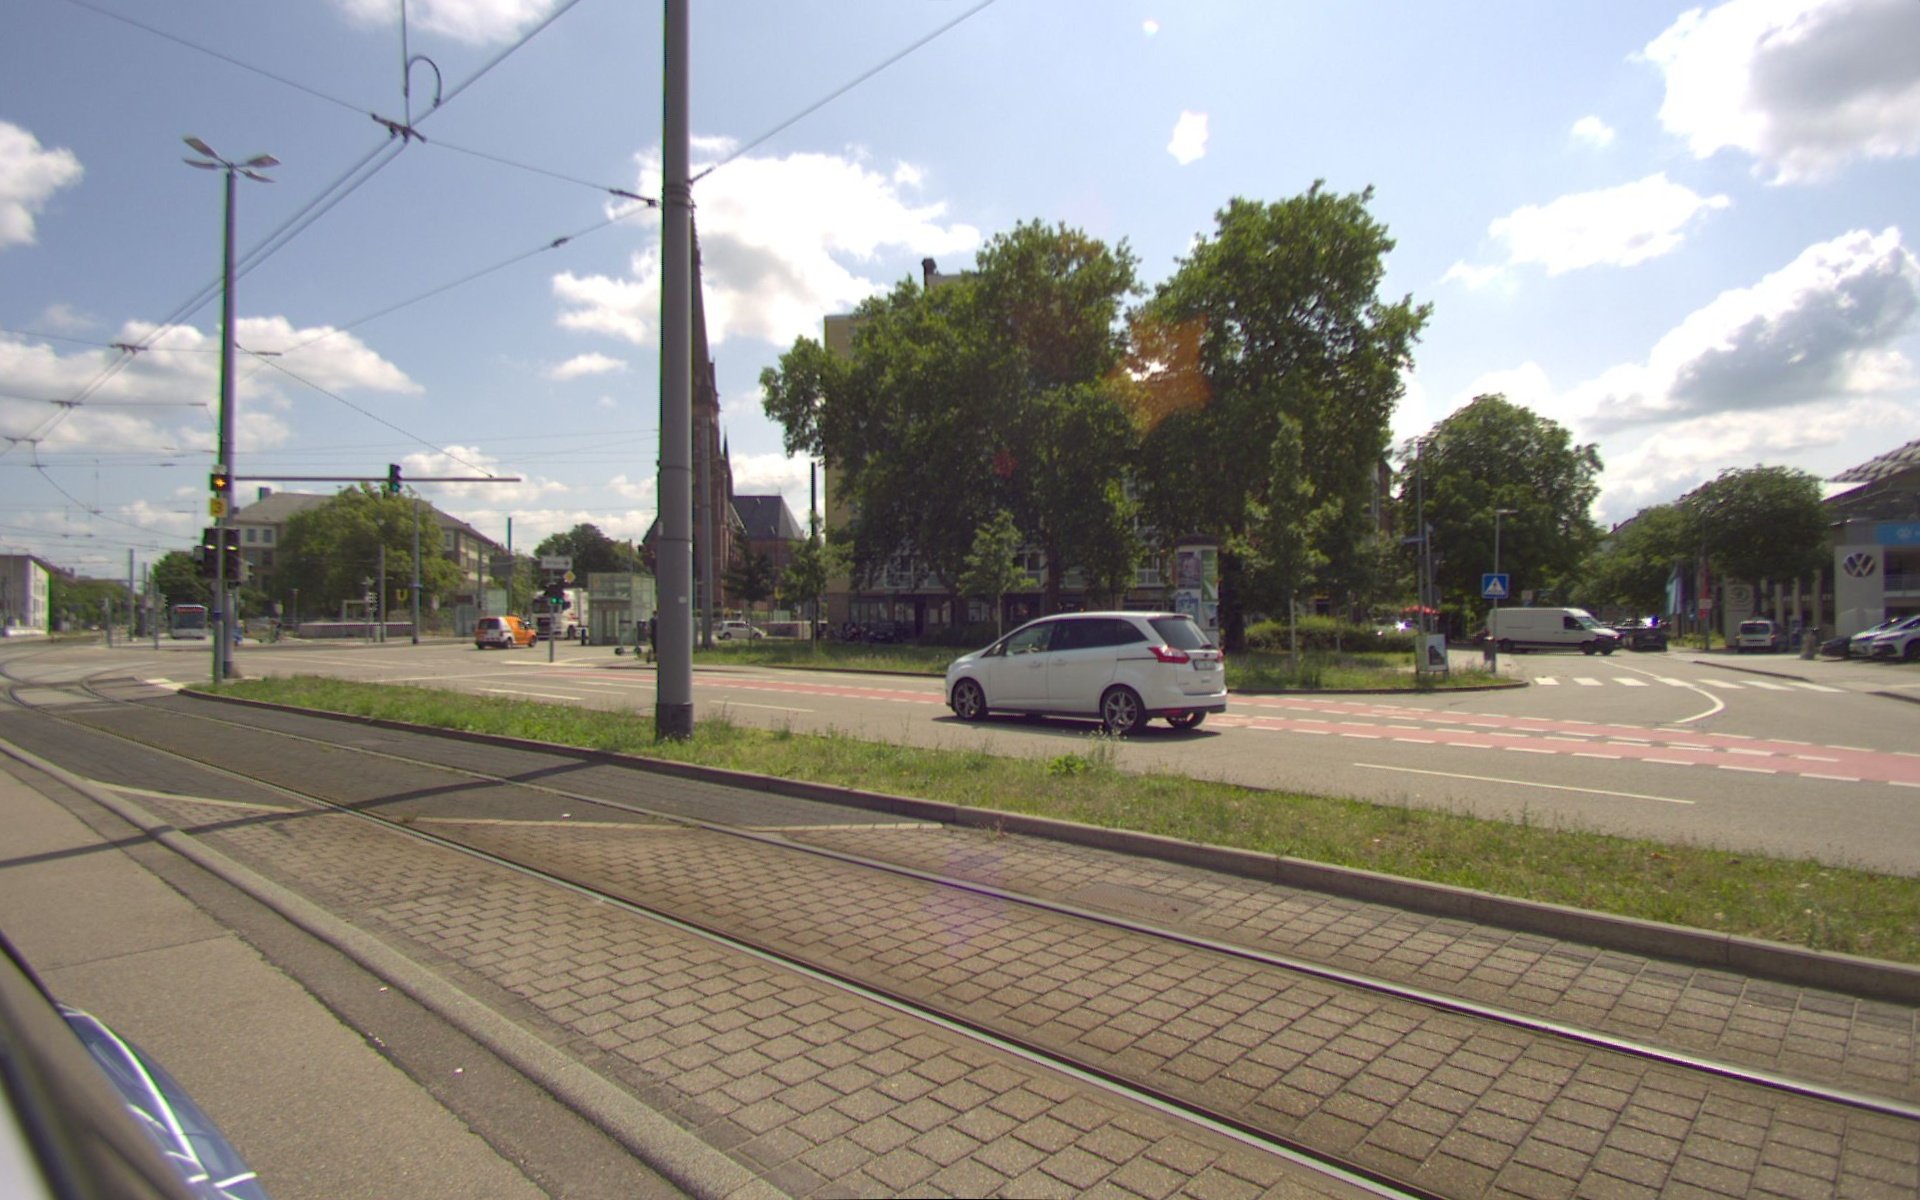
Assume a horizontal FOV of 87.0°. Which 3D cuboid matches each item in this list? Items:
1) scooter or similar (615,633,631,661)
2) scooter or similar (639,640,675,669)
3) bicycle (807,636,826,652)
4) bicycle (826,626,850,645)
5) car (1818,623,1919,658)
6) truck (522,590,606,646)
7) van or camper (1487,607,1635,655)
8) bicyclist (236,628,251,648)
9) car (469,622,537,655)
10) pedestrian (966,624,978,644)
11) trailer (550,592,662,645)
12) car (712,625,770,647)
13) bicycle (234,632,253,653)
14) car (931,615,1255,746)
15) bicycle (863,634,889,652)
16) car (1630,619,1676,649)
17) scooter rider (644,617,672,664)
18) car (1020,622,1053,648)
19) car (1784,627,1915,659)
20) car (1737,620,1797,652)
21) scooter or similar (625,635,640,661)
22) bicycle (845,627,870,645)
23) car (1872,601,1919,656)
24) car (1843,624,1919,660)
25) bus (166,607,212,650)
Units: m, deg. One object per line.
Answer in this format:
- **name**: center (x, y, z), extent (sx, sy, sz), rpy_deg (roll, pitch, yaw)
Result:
- **scooter or similar**: center (-14.756, 2.061, 44.274), extent (0.549, 1.209, 0.456), rpy_deg (-2, -2, 39)
- **scooter or similar**: center (-11.192, 2.009, 37.370), extent (1.092, 1.040, 0.796), rpy_deg (-2, -2, 40)
- **bicycle**: center (-10.323, 3.149, 72.689), extent (1.258, 1.154, 0.458), rpy_deg (-1, -2, 6)
- **bicycle**: center (-8.553, 2.472, 70.941), extent (1.584, 1.274, 0.492), rpy_deg (-1, -1, 10)
- **car**: center (34.926, 1.523, 38.104), extent (3.608, 1.255, 1.549), rpy_deg (-1, -1, 18)
- **truck**: center (-30.439, 1.411, 78.111), extent (2.931, 4.150, 6.858), rpy_deg (-1, -1, 9)
- **van or camper**: center (33.380, 1.701, 56.485), extent (2.535, 2.518, 6.702), rpy_deg (0, -2, -31)
- **bicyclist**: center (-73.805, 3.896, 104.194), extent (1.108, 2.029, 1.321), rpy_deg (2, -3, -41)
- **car**: center (-25.529, 2.143, 56.730), extent (1.748, 1.779, 4.237), rpy_deg (-1, -1, 3)
- **pedestrian**: center (0.812, 2.229, 66.481), extent (0.751, 1.336, 0.561), rpy_deg (-1, -1, 5)
- **trailer**: center (-29.379, 1.576, 84.882), extent (2.915, 4.107, 13.380), rpy_deg (-1, -1, 9)
- **car**: center (-17.020, 2.794, 78.633), extent (4.102, 1.655, 1.634), rpy_deg (0, -2, -32)
- **bicycle**: center (-73.800, 4.365, 104.209), extent (1.229, 2.029, 3.490), rpy_deg (1, -2, -41)
- **car**: center (1.776, 1.049, 14.669), extent (4.493, 1.616, 1.747), rpy_deg (-2, -2, 43)
- **bicycle**: center (-5.296, 2.700, 63.780), extent (1.584, 1.074, 0.492), rpy_deg (-1, -1, 10)
- **car**: center (42.286, 2.054, 61.729), extent (1.998, 1.696, 3.948), rpy_deg (1, 0, 39)
- **scooter rider**: center (-11.157, 1.497, 37.354), extent (0.648, 1.720, 0.769), rpy_deg (-2, -2, 40)
- **car**: center (4.911, 2.226, 64.491), extent (1.857, 1.522, 3.922), rpy_deg (-1, -2, 7)
- **car**: center (35.783, 1.726, 40.805), extent (3.608, 1.255, 1.549), rpy_deg (-1, -1, 18)
- **car**: center (44.118, 1.938, 55.308), extent (3.940, 1.630, 2.002), rpy_deg (1, -2, -44)
- **scooter or similar**: center (-14.460, 2.132, 44.697), extent (0.556, 1.133, 0.411), rpy_deg (-2, -2, 39)
- **bicycle**: center (-6.819, 2.399, 67.229), extent (1.584, 1.176, 0.492), rpy_deg (-1, -1, 10)
- **car**: center (33.049, 0.928, 33.518), extent (3.845, 1.788, 1.685), rpy_deg (-1, -2, 27)
- **car**: center (34.031, 1.489, 35.966), extent (3.613, 1.255, 1.547), rpy_deg (-1, -1, 21)
- **bus**: center (-65.801, 2.428, 86.282), extent (2.905, 3.474, 7.962), rpy_deg (1, -2, -39)
